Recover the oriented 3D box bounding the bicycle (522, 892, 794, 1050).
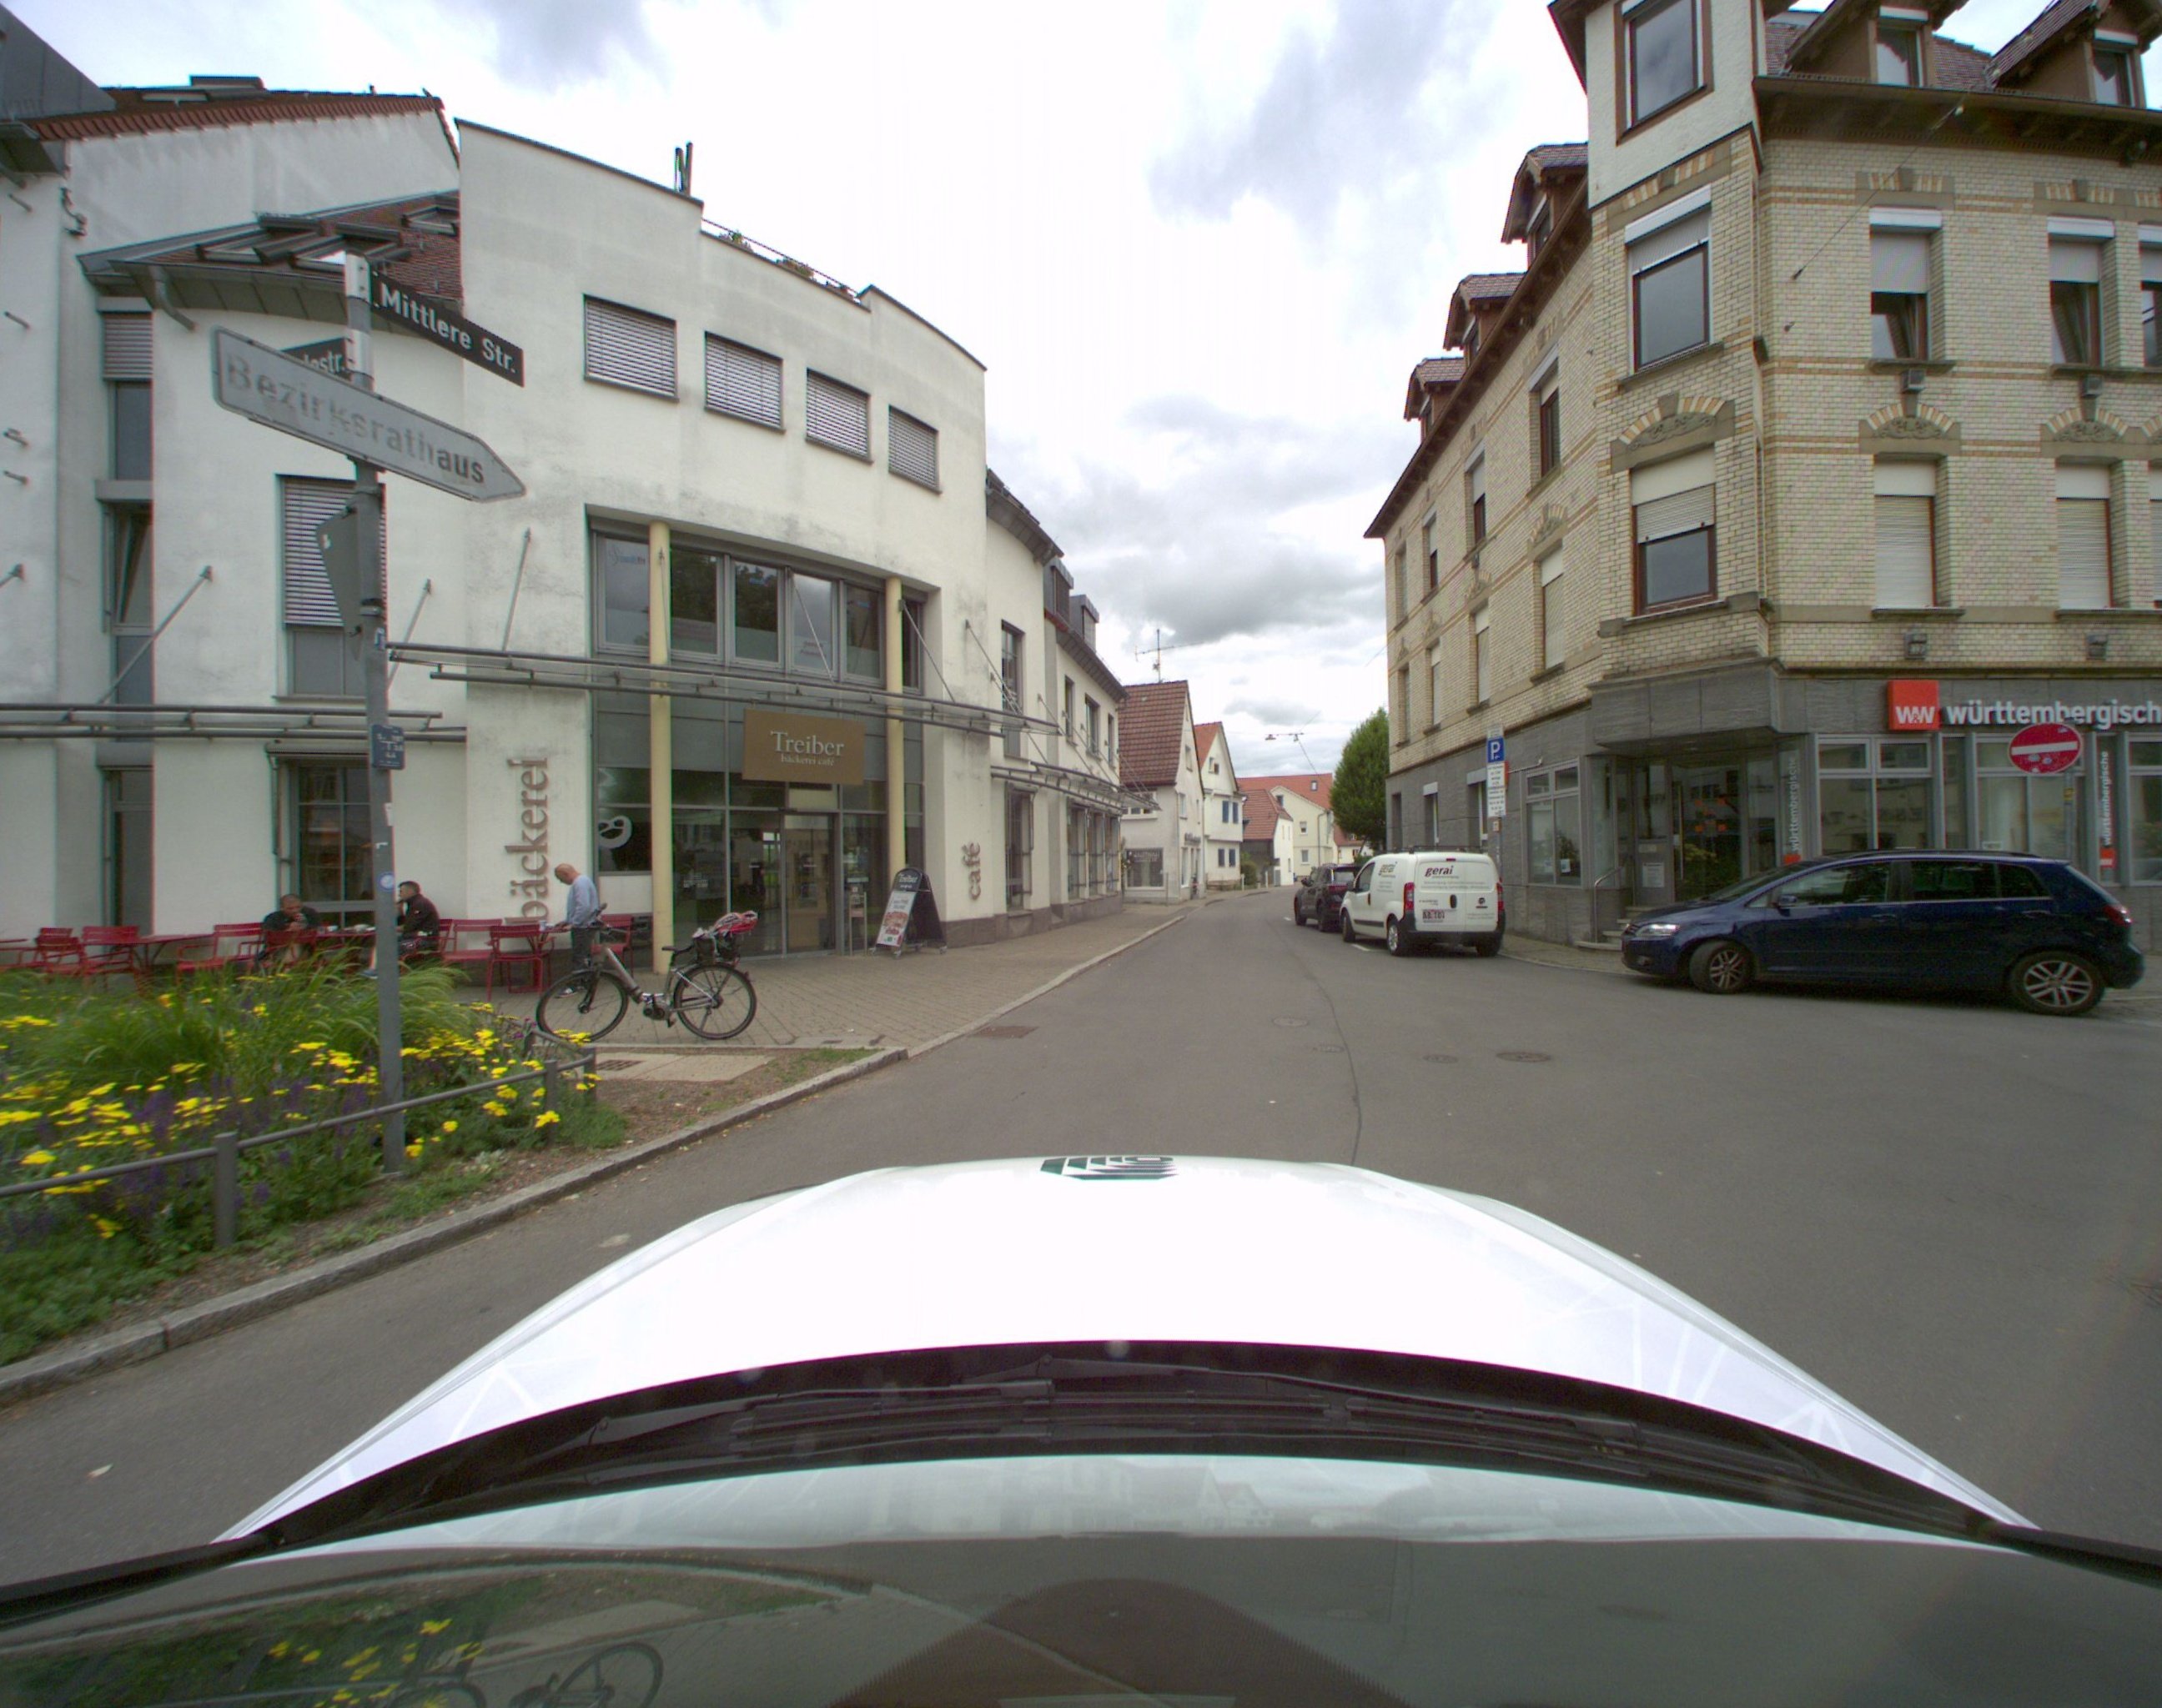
[{"bbox_3d":[-3.648,0.987,7.163,1.970,1.240,0.743,0,0,-4],"label":"bicycle"}]

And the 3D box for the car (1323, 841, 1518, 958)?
[{"bbox_3d":[5.898,0.722,14.753,1.819,1.792,4.219,0,-1,1],"label":"car"}]

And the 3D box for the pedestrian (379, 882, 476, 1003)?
[{"bbox_3d":[-7.809,1.024,9.759,0.656,1.341,0.692,-1,0,-16],"label":"pedestrian"}]

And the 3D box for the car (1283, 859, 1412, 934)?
[{"bbox_3d":[6.248,0.952,19.662,1.781,1.601,4.544,0,-1,2],"label":"car"}]

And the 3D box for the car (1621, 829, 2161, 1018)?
[{"bbox_3d":[8.515,0.669,9.143,3.971,1.704,1.874,-1,-2,30],"label":"car"}]

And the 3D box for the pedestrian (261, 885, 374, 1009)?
[{"bbox_3d":[-8.905,1.057,9.535,0.702,1.332,0.681,-1,0,-16],"label":"pedestrian"}]

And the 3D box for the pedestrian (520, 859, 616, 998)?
[{"bbox_3d":[-6.029,0.837,9.620,0.702,1.525,0.863,-1,0,-16],"label":"pedestrian"}]
